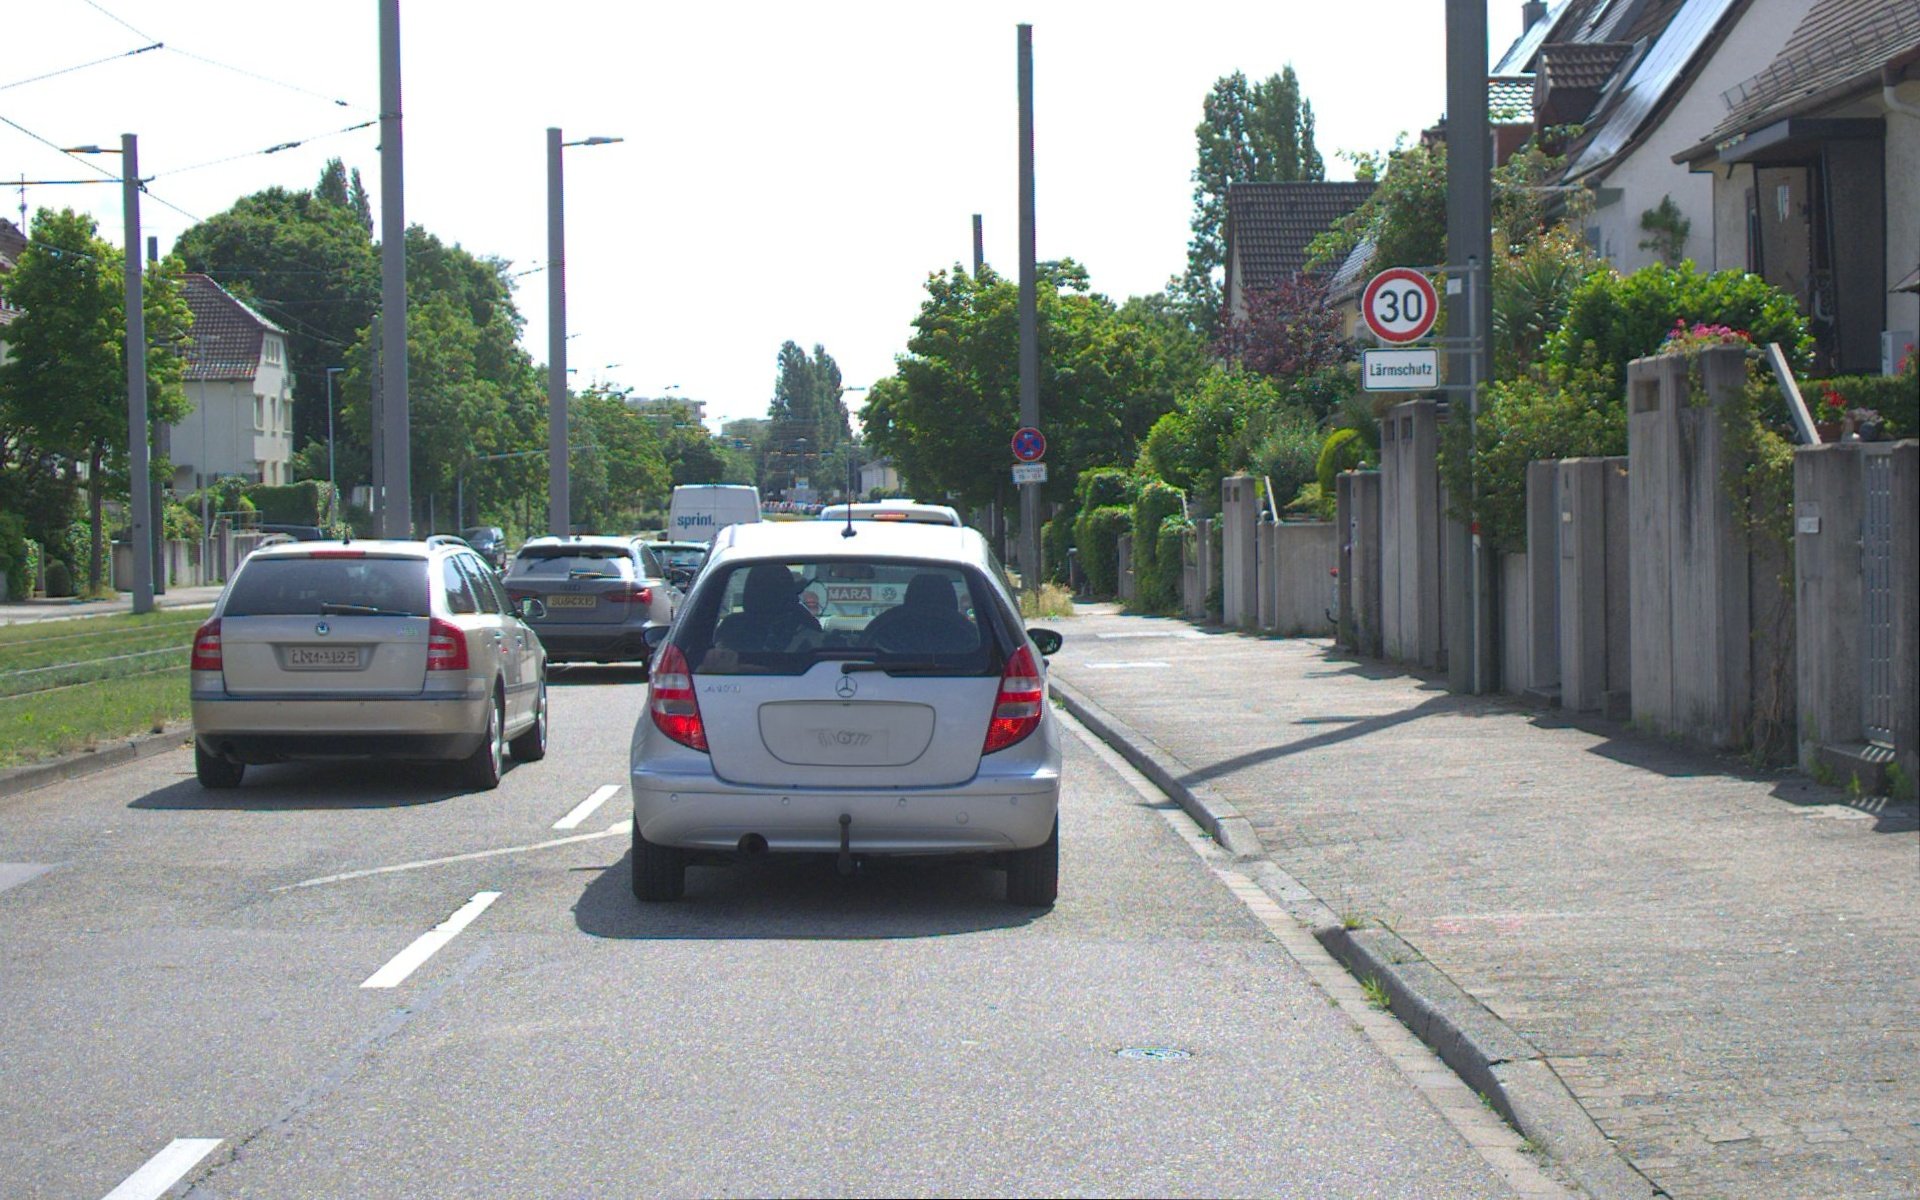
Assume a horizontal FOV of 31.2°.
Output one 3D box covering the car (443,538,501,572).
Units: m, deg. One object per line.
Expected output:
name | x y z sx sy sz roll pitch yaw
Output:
car | -22.070 -2.066 155.714 1.916 1.472 4.562 1 1 1

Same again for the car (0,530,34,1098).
car | -3.347 0.589 6.844 1.794 1.467 4.722 0 1 -1

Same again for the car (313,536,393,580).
car | -21.292 -1.497 120.728 1.916 1.472 4.562 1 1 1

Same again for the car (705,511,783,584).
car | -6.331 -1.551 101.059 1.916 2.070 4.562 1 1 1

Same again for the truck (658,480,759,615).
truck | -4.974 -1.055 68.598 1.852 2.543 5.856 1 1 -3

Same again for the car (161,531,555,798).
car | -3.557 0.321 21.002 1.731 1.444 4.123 1 1 -1

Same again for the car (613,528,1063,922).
car | -0.557 0.455 15.418 1.730 1.511 4.017 1 1 -2

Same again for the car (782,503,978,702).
car | -0.741 -0.013 32.812 1.730 1.756 4.017 1 1 -1

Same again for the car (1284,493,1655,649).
car | 6.021 -0.358 40.930 3.986 1.678 2.000 -2 1 -4

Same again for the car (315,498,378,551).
car | -27.399 -3.374 153.647 1.916 2.322 4.562 1 1 1

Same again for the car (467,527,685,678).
car | -4.026 -0.022 36.711 1.916 1.472 4.563 1 1 -2

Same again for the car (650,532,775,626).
car | -3.863 -0.362 54.216 1.852 1.383 4.515 1 1 -3
